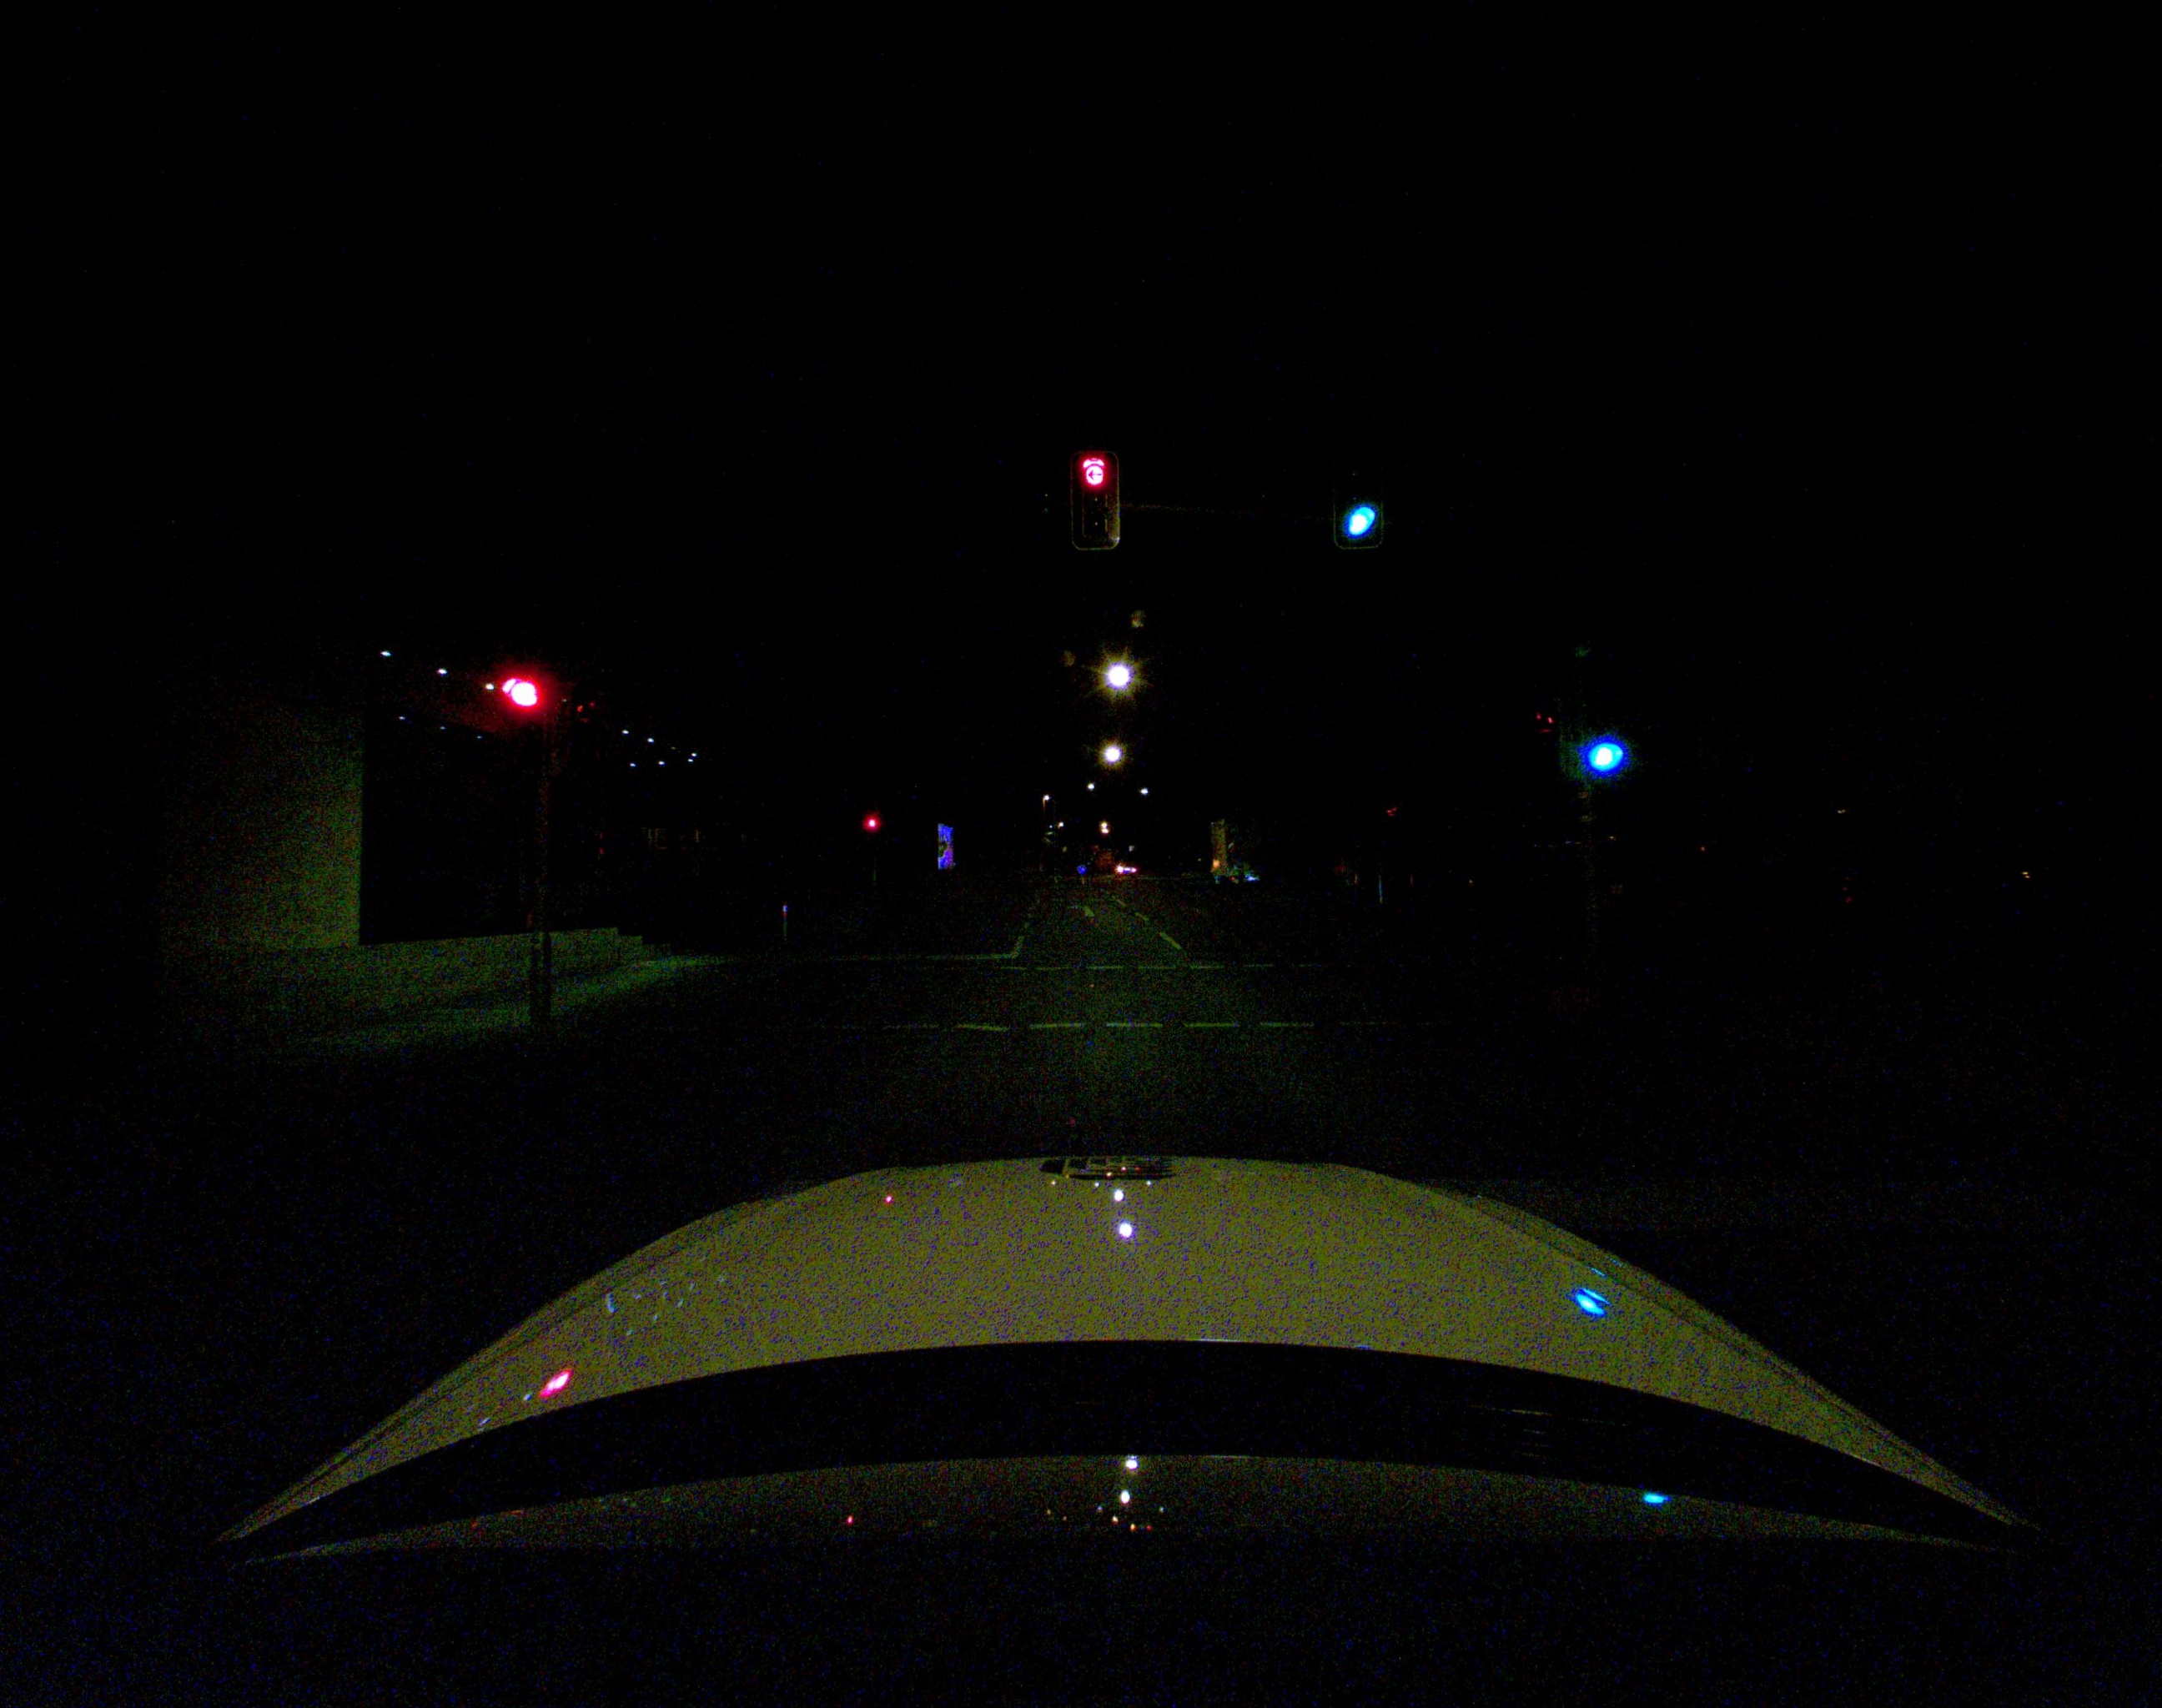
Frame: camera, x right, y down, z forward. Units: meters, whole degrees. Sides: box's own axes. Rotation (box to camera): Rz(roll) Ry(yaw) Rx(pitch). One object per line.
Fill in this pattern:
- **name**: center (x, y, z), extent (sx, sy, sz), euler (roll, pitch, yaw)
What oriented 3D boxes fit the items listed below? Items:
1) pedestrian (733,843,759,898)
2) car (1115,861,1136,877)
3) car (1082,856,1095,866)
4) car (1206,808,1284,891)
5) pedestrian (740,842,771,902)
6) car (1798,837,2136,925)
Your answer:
- **pedestrian**: center (-10.636, 0.527, 25.869), extent (0.568, 1.731, 0.544), euler (0, -1, 1)
- **car**: center (4.200, 1.388, 77.003), extent (1.770, 1.486, 3.999), euler (0, -1, 0)
- **car**: center (1.249, 1.169, 134.565), extent (1.901, 1.557, 3.906), euler (0, -1, 2)
- **car**: center (6.761, -0.153, 34.214), extent (2.287, 3.093, 5.845), euler (-2, -1, 3)
- **pedestrian**: center (-9.813, 0.526, 24.585), extent (0.568, 1.778, 0.737), euler (1, -1, 1)
- **car**: center (17.458, 0.565, 16.282), extent (4.342, 1.560, 1.807), euler (-2, -3, 8)
